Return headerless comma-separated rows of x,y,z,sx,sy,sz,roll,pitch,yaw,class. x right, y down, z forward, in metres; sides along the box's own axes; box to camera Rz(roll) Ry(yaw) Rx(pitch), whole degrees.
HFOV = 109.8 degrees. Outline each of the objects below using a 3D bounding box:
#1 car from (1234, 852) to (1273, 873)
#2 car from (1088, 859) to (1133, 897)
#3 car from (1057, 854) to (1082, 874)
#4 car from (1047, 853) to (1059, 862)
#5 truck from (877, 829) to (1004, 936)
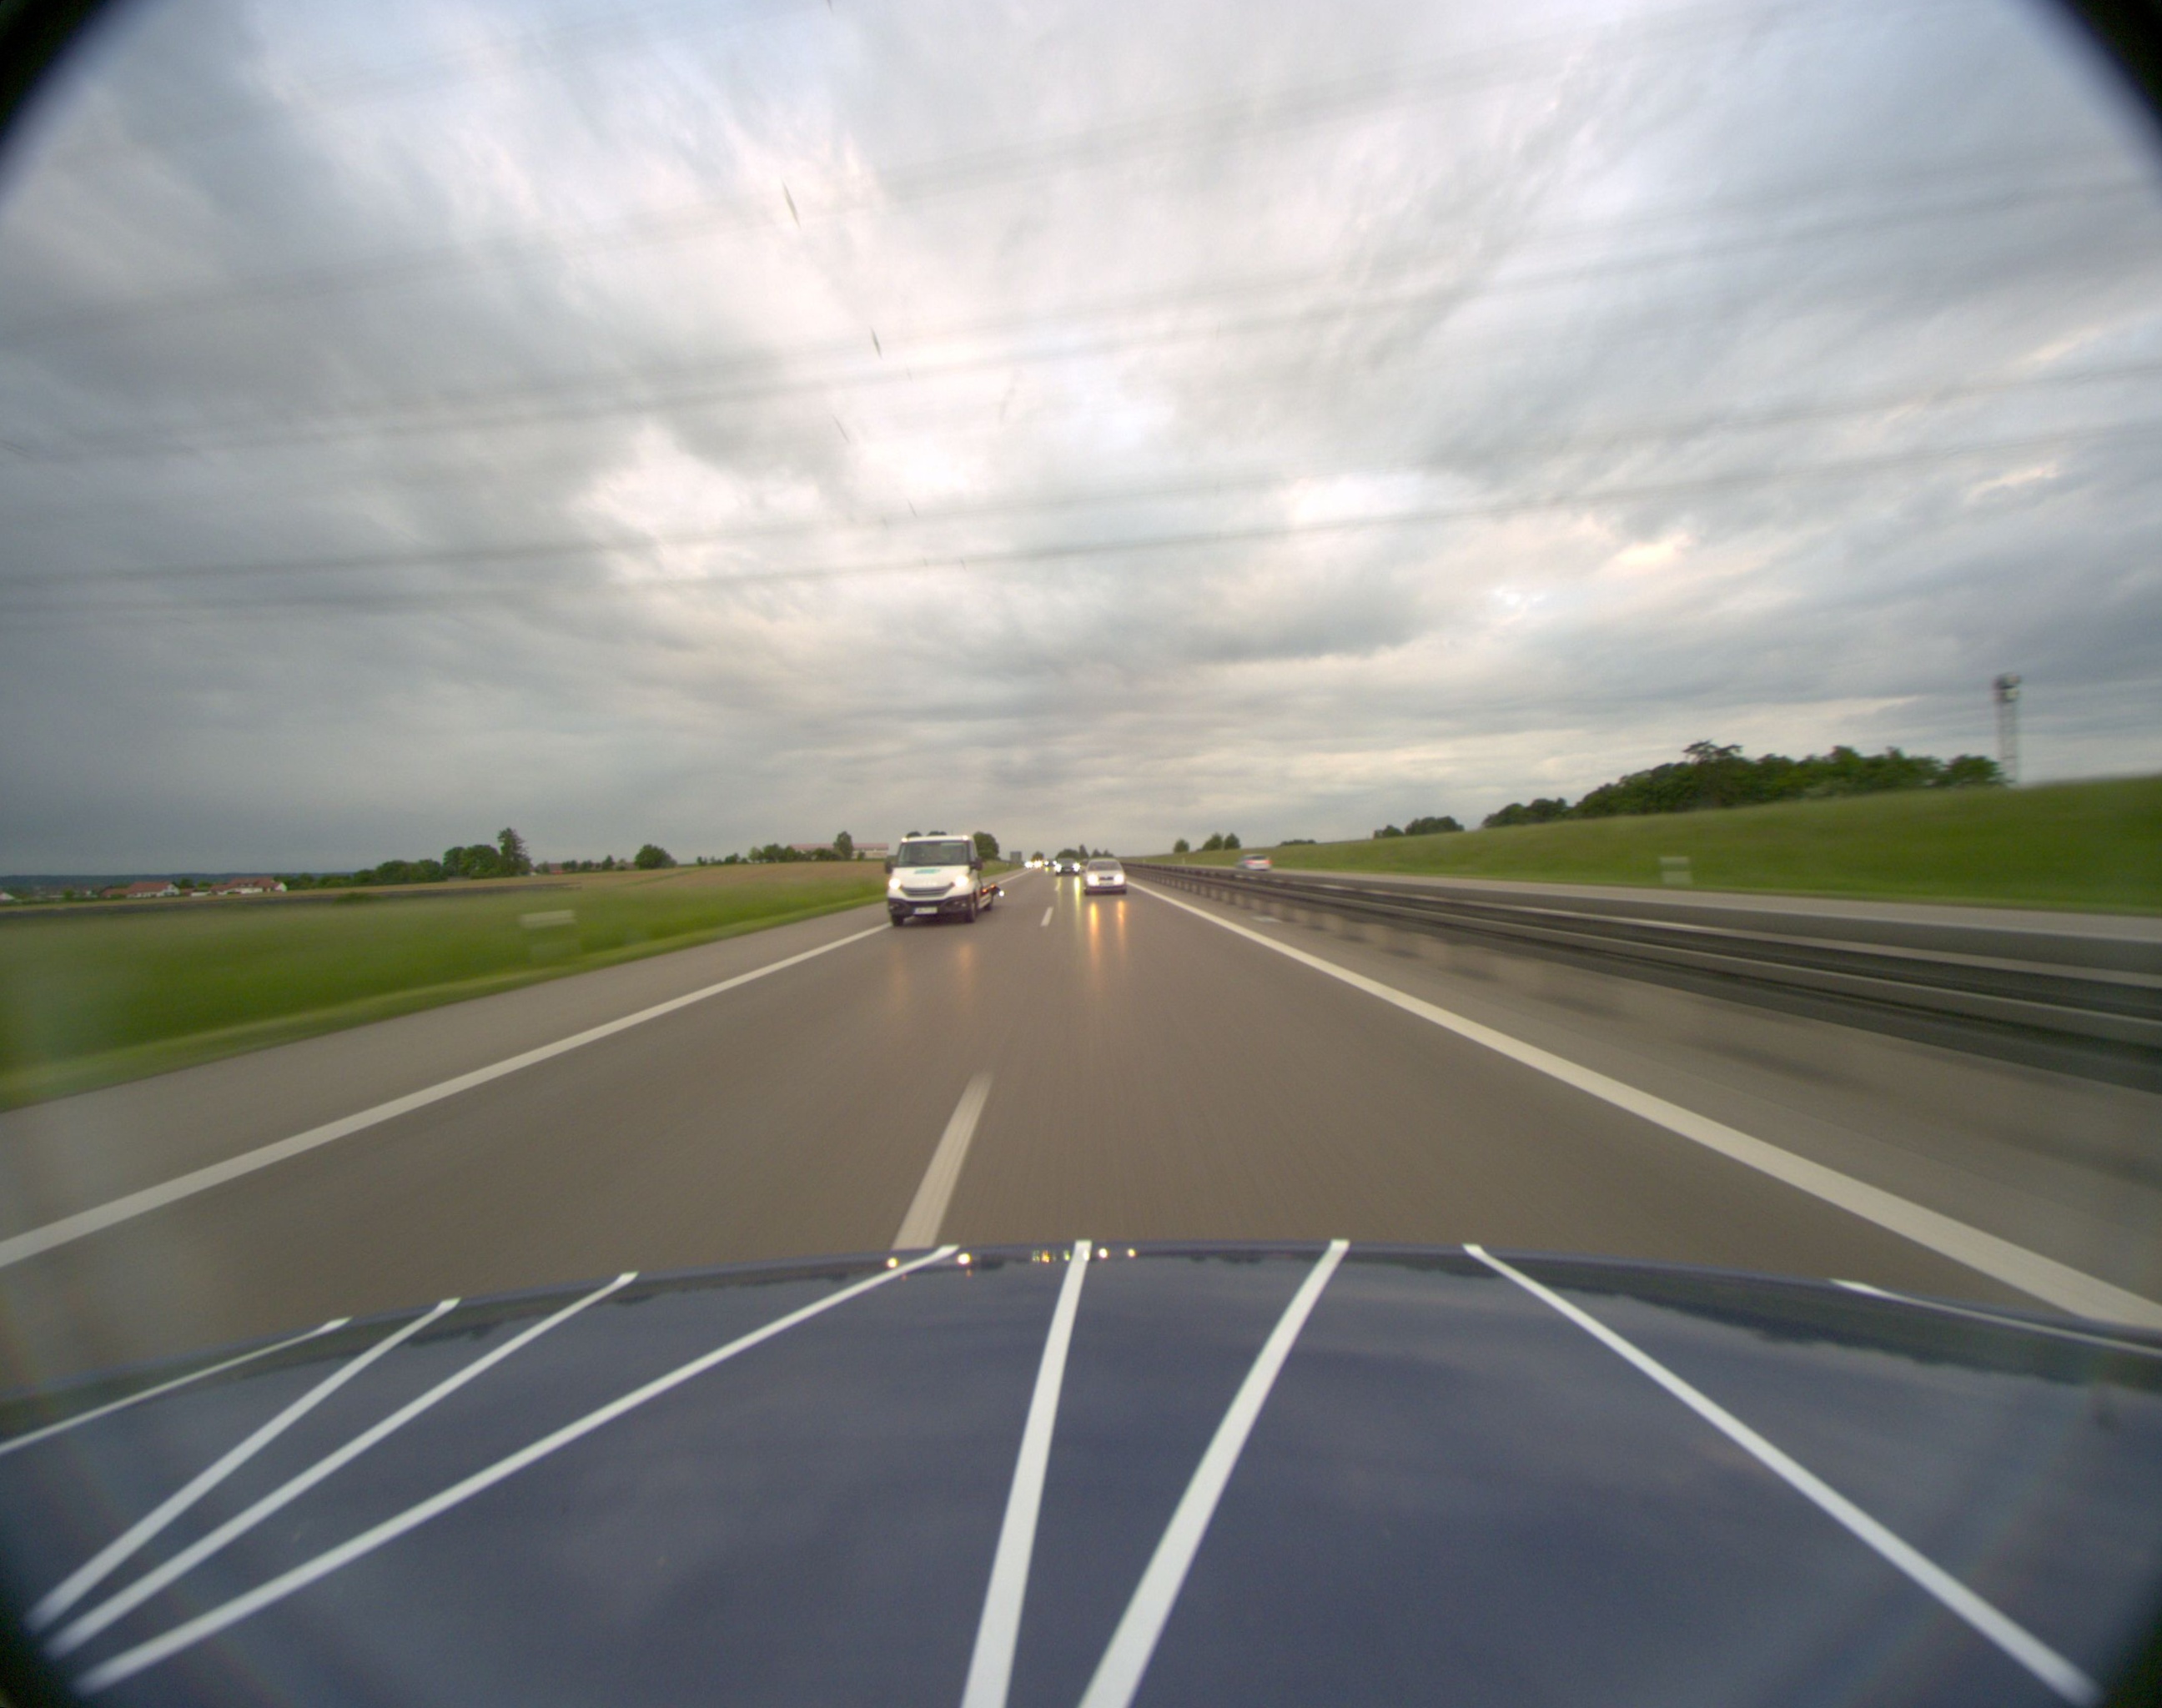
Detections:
13.496,0.634,59.820,1.769,1.473,5.333,-3,0,0,car
1.166,0.941,31.446,1.592,1.381,4.600,0,1,-1,car
-0.914,0.811,64.574,1.951,1.620,4.535,-2,0,0,car
-5.113,0.682,138.842,1.808,1.619,3.901,-1,0,-6,car
-3.640,0.662,21.379,2.177,2.346,7.695,-3,0,-1,truck
